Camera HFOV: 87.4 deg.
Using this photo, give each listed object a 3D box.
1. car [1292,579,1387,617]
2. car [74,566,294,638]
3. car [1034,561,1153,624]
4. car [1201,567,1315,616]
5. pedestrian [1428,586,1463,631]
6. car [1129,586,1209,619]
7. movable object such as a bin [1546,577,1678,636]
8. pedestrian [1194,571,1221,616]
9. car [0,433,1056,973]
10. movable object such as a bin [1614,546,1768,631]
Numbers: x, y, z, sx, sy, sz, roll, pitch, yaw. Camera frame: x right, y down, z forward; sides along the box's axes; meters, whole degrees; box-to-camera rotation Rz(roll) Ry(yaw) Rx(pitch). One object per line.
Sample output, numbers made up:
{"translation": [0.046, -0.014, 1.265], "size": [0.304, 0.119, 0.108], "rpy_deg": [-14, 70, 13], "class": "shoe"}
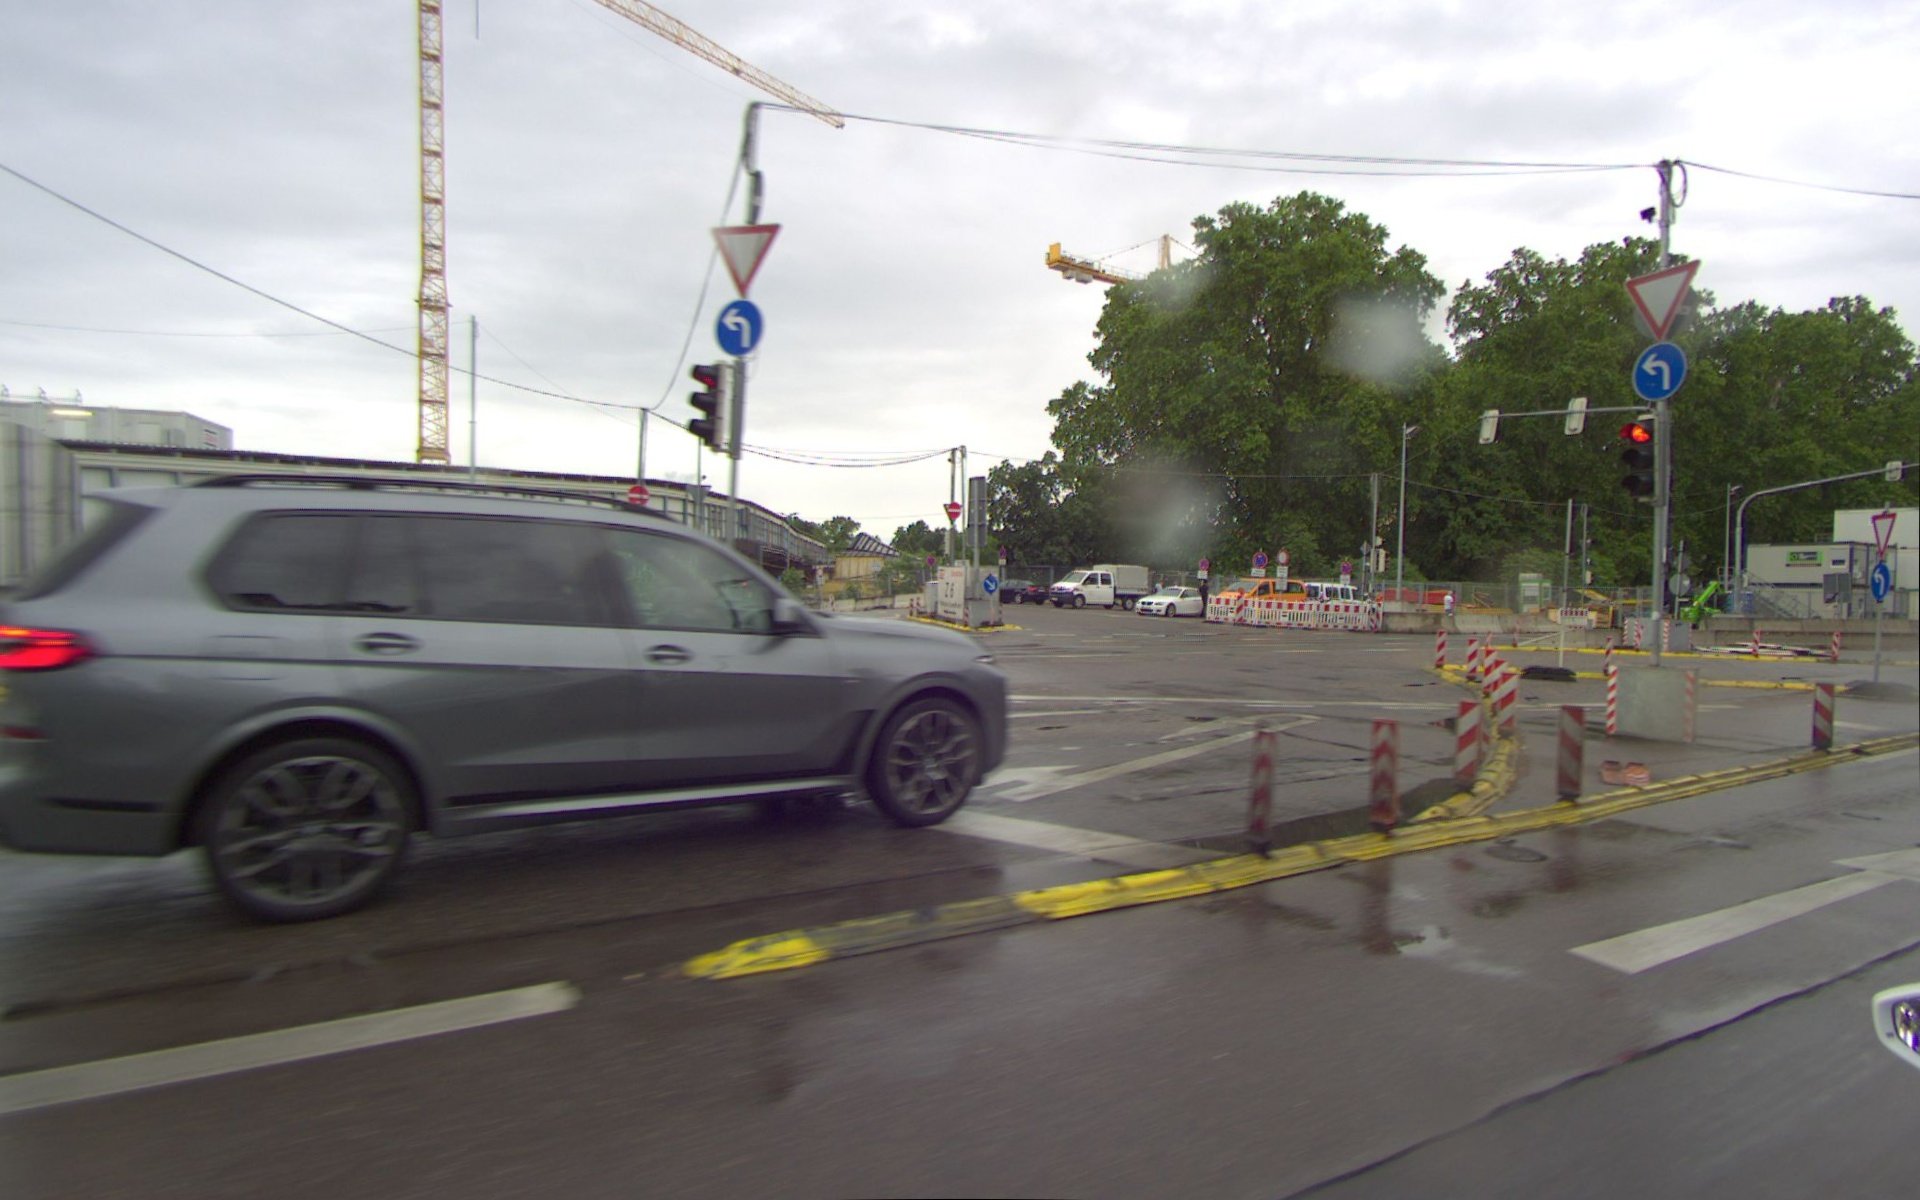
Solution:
{"translation": [18.628, -0.084, 49.310], "size": [4.742, 1.785, 1.835], "rpy_deg": [1, 0, -31], "class": "car"}
{"translation": [-23.614, 0.038, 30.819], "size": [1.962, 2.041, 5.023], "rpy_deg": [0, 1, 23], "class": "car"}
{"translation": [6.970, -0.367, 52.123], "size": [6.101, 3.107, 2.261], "rpy_deg": [1, 0, -32], "class": "car"}
{"translation": [13.717, -0.315, 46.092], "size": [5.524, 2.128, 1.981], "rpy_deg": [1, -1, -34], "class": "car"}
{"translation": [23.063, 0.388, 47.721], "size": [1.167, 2.041, 1.167], "rpy_deg": [3, 2, 43], "class": "pedestrian"}
{"translation": [9.701, 0.121, 46.585], "size": [3.805, 1.434, 1.741], "rpy_deg": [1, 0, -42], "class": "car"}
{"translation": [37.108, 0.390, 57.172], "size": [6.314, 3.170, 3.913], "rpy_deg": [1, 0, -31], "class": "movable object such as a bin"}
{"translation": [11.410, -0.291, 46.279], "size": [0.731, 2.041, 0.913], "rpy_deg": [0, 1, -36], "class": "pedestrian"}
{"translation": [-2.080, 0.343, 5.750], "size": [5.023, 1.888, 2.194], "rpy_deg": [0, 2, -35], "class": "car"}
{"translation": [44.873, -0.646, 61.662], "size": [8.262, 4.867, 4.726], "rpy_deg": [1, 0, -31], "class": "movable object such as a bin"}
